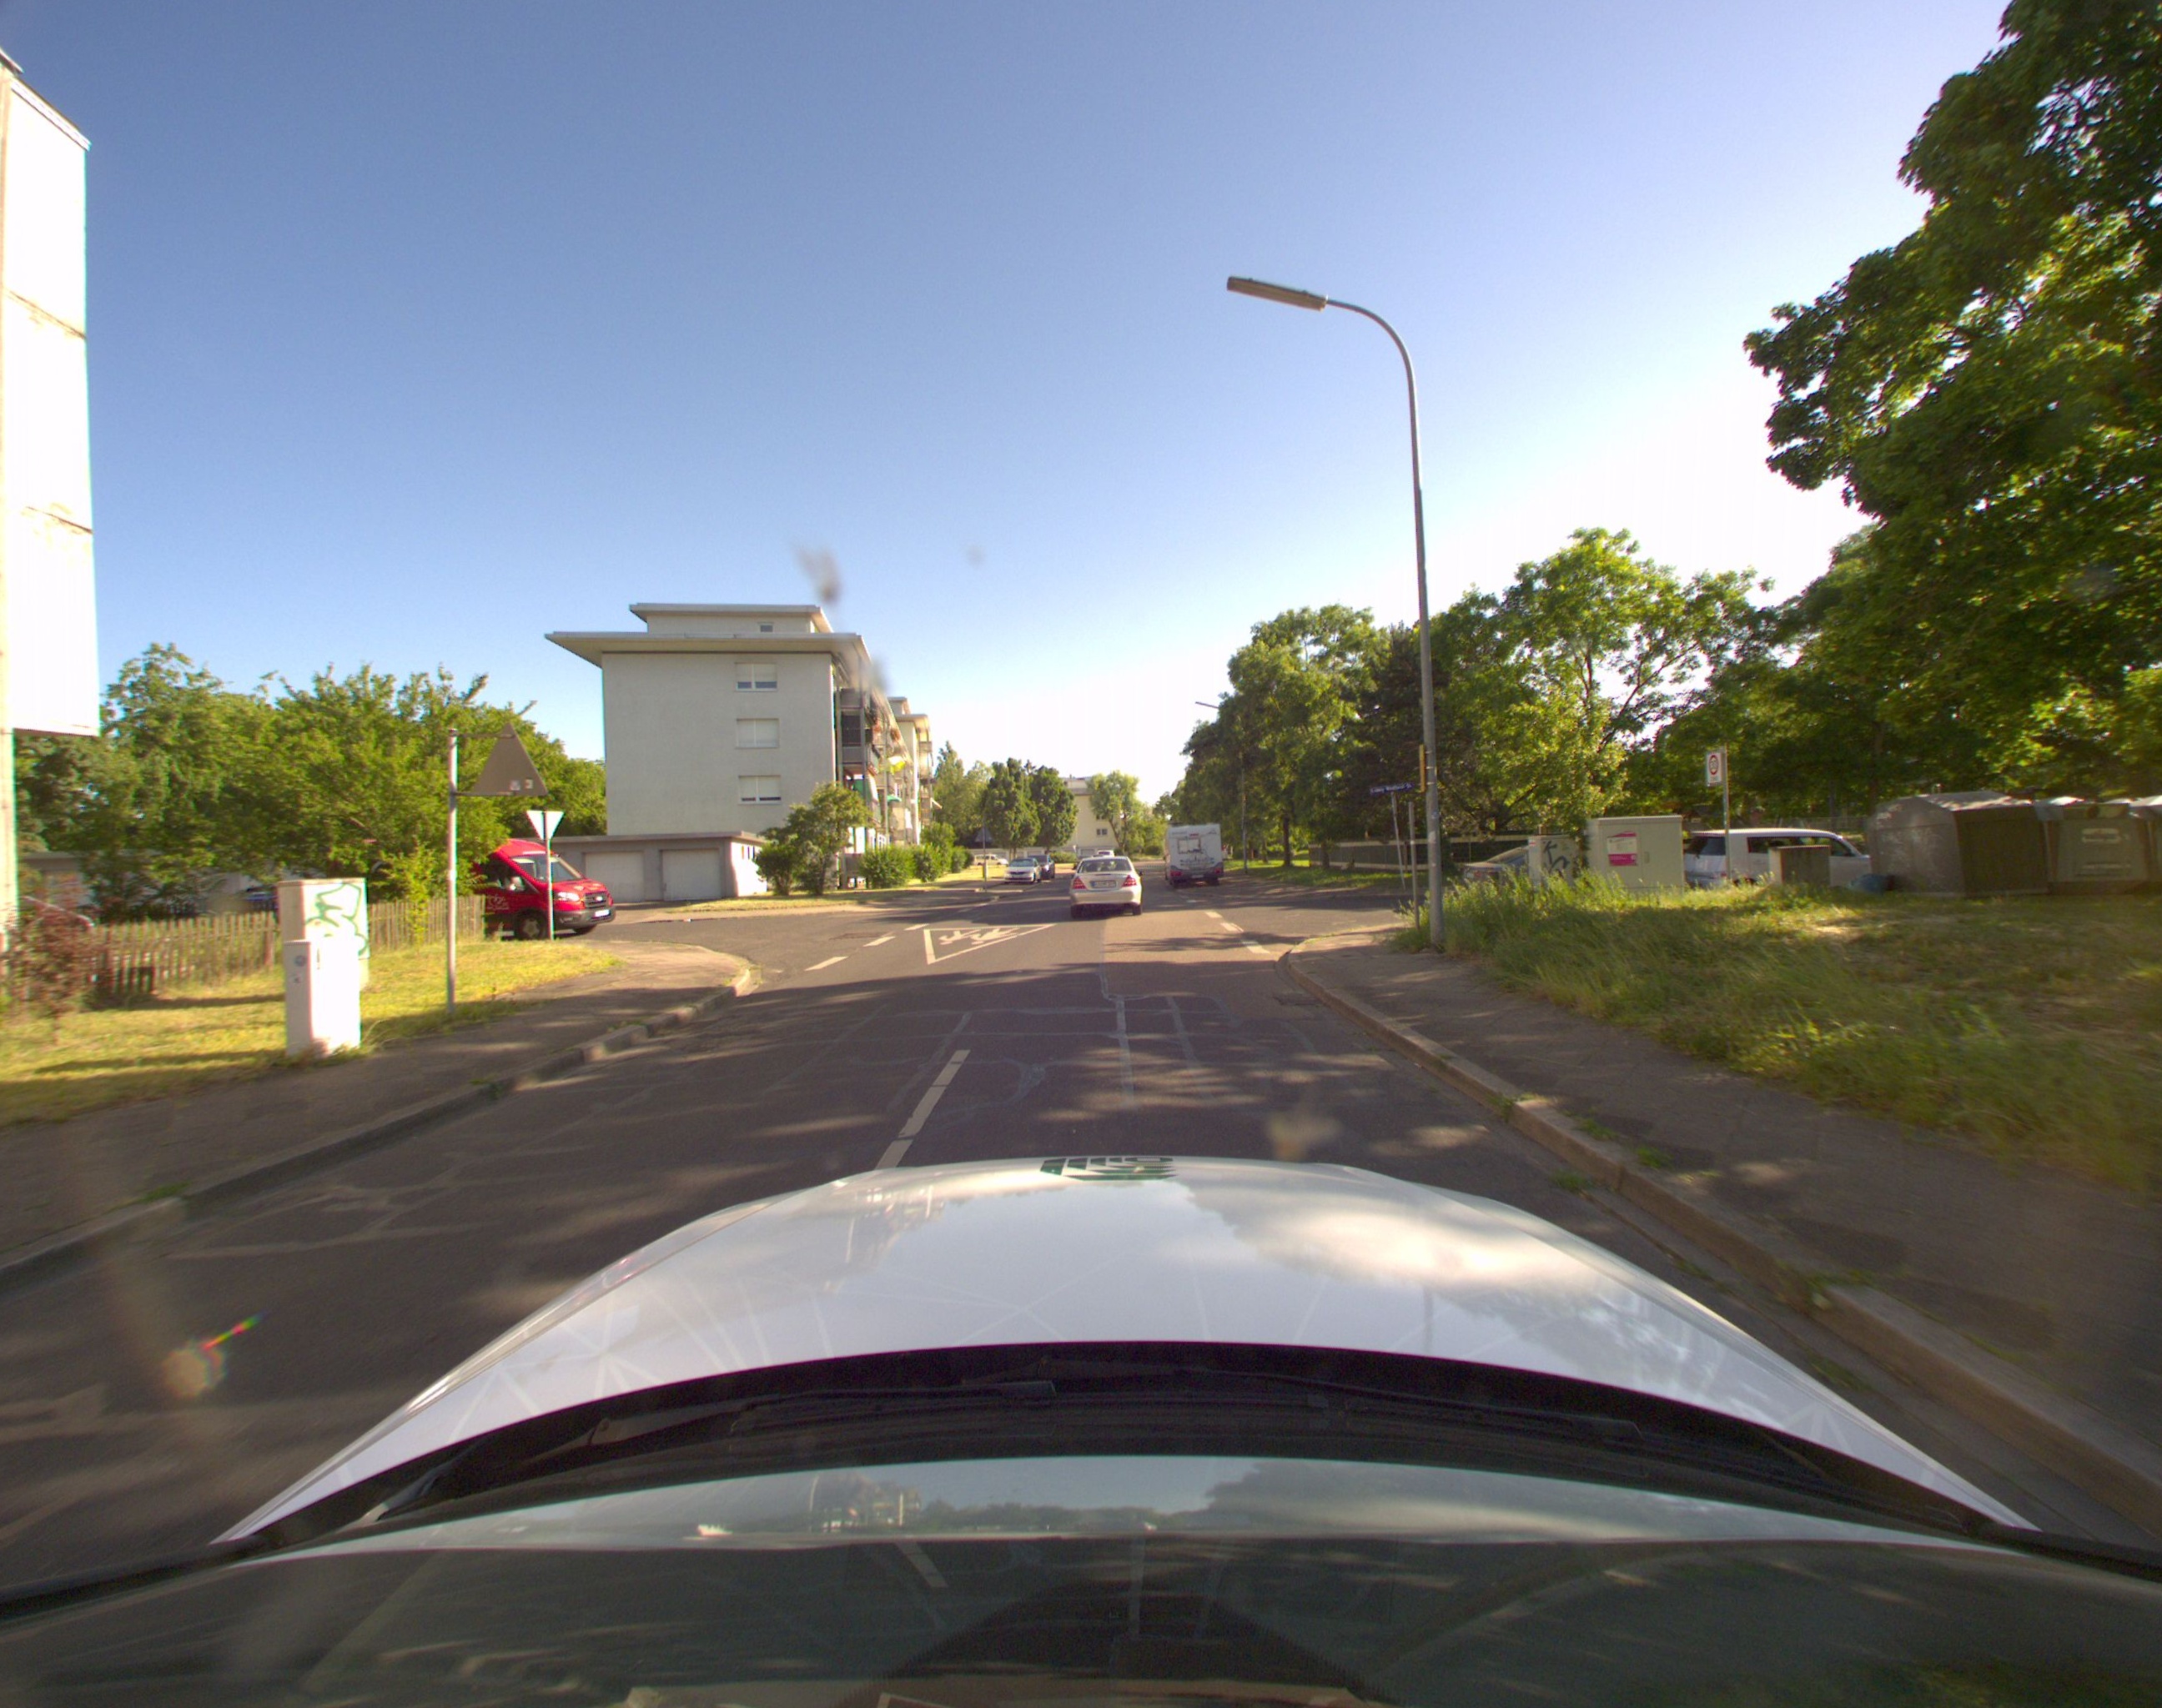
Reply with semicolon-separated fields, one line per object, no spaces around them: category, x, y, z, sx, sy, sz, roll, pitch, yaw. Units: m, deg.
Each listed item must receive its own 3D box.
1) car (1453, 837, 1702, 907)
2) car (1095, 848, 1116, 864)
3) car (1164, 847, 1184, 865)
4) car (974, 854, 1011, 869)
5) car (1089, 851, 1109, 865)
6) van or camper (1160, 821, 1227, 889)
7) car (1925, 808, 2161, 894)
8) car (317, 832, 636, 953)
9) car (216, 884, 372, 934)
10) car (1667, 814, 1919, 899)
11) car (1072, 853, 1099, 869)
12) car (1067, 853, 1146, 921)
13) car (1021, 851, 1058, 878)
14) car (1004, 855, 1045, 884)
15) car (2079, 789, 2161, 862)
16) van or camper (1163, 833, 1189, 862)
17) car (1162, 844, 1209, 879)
car;10.829;0.367;18.037;4.402;1.337;1.749;-2;2;6
car;3.040;0.192;100.470;2.003;1.885;5.203;-1;0;8
car;9.075;0.187;79.763;1.712;1.524;4.436;-5;0;6
car;-13.521;1.146;124.773;5.068;1.951;2.246;-3;0;15
car;2.103;0.446;94.030;1.823;1.518;4.231;-1;0;8
van or camper;4.961;0.023;36.881;2.341;2.596;6.433;-5;0;4
car;20.400;-0.089;16.622;4.079;1.541;1.978;-2;1;8
car;-14.328;0.844;19.593;5.883;2.428;2.214;-3;1;1
car;-27.155;1.853;28.305;1.840;1.388;4.019;-3;0;-9
car;15.175;0.051;17.571;3.662;1.578;1.833;-2;0;9
car;0.525;0.663;81.272;2.024;1.493;5.267;-3;0;7
car;0.701;0.752;20.158;1.725;1.434;3.442;-3;0;4
car;-2.624;0.640;52.595;1.906;1.603;4.817;0;1;3
car;-3.129;0.846;46.022;1.638;1.466;4.337;-1;0;5
car;29.641;-0.811;21.427;3.839;1.851;2.007;-2;0;12
van or camper;10.151;-0.712;86.810;2.483;2.845;6.864;-3;0;7
car;5.542;0.346;43.661;1.986;1.640;4.539;-4;0;2
